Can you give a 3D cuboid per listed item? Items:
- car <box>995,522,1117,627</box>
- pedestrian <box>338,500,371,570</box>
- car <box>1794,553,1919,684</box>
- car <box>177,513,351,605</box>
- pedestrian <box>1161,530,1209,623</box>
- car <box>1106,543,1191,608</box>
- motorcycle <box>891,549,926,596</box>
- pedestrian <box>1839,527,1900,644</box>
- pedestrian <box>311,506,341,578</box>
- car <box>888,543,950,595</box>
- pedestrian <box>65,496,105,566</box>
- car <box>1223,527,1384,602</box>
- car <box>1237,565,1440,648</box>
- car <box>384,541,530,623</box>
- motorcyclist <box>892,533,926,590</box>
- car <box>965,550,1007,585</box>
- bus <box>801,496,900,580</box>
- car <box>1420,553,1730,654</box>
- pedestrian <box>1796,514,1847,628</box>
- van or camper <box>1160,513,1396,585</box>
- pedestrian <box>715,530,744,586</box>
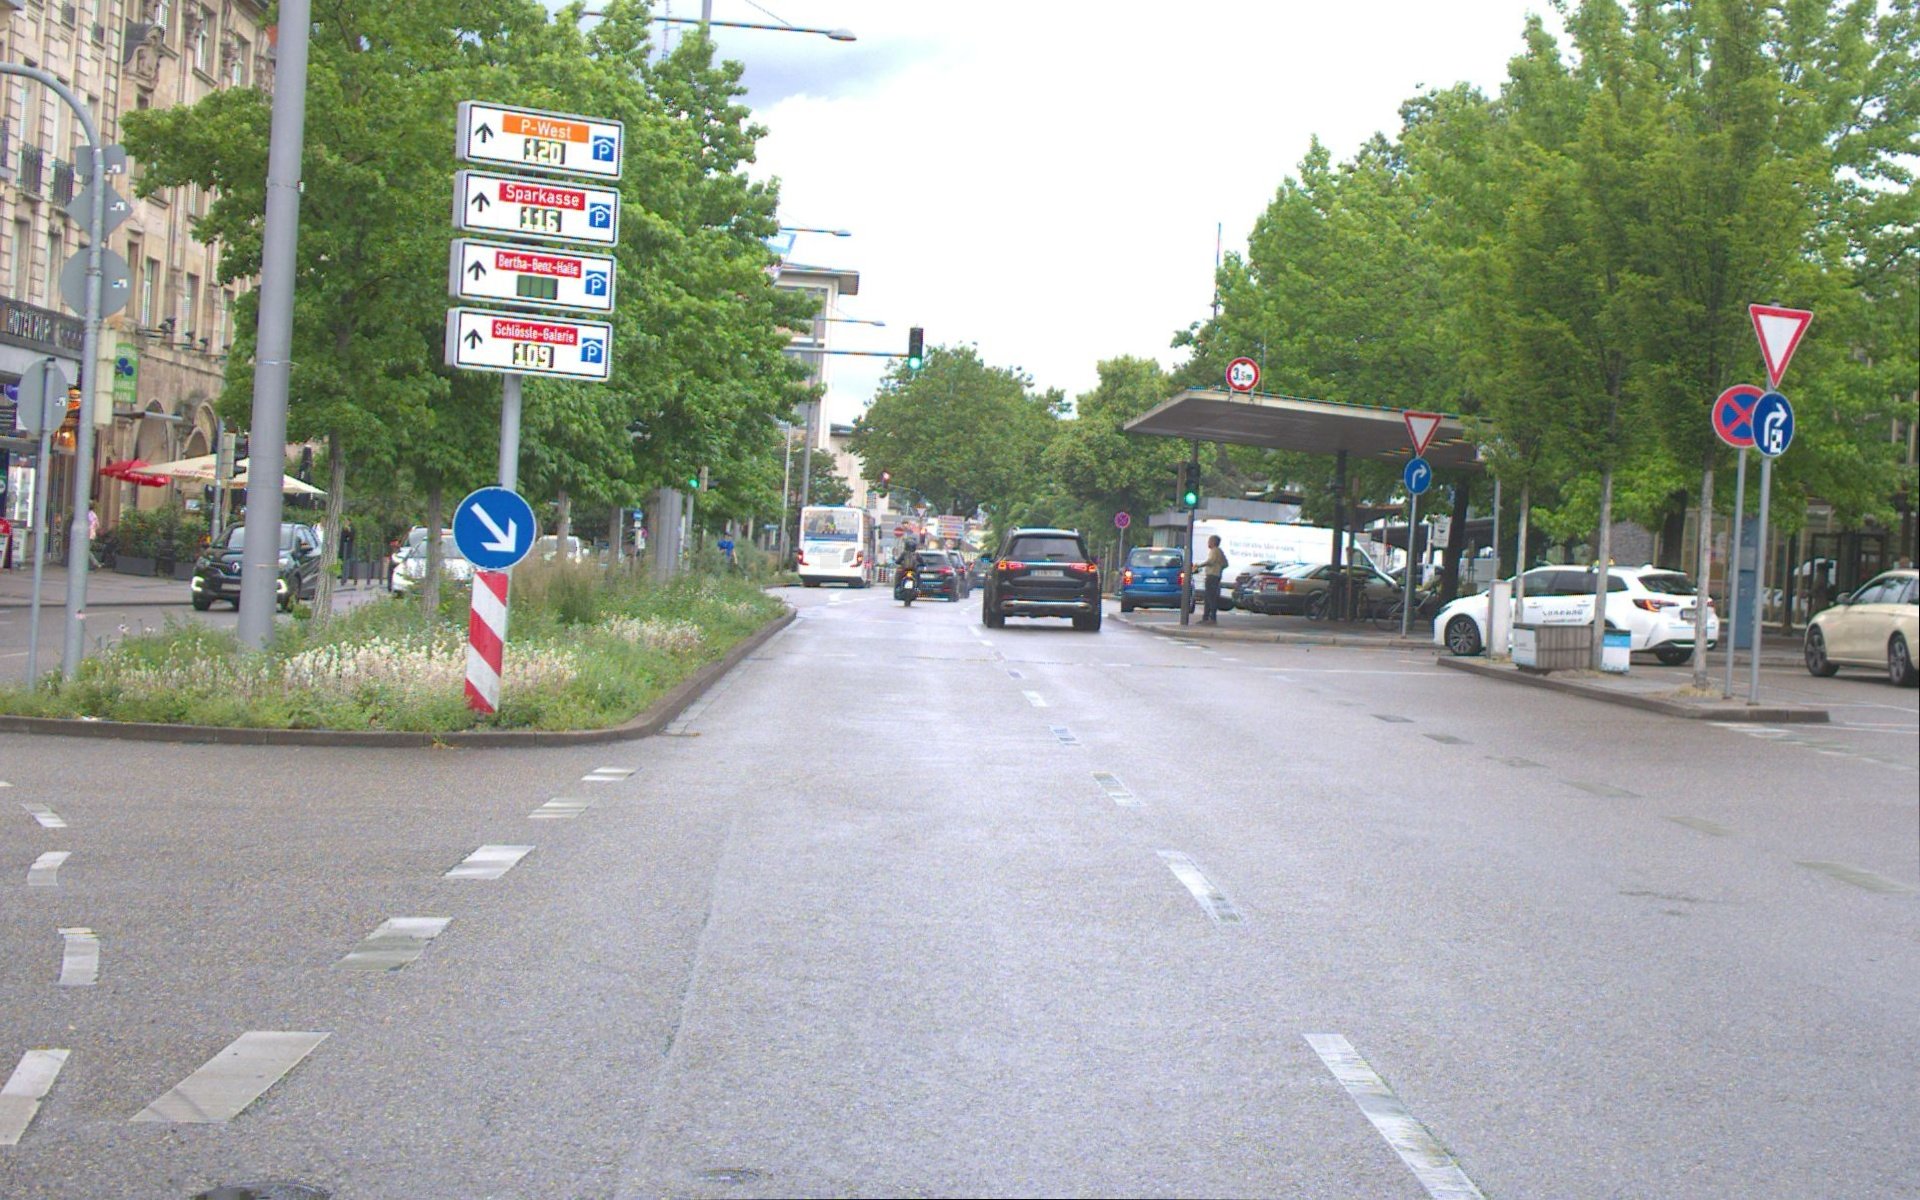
[{"bbox_3d":[1.703,-0.497,62.491,1.993,1.800,4.690,1,1,-1],"label":"car"},{"bbox_3d":[-14.812,-1.595,84.116,0.674,1.696,0.634,1,1,-1],"label":"pedestrian"},{"bbox_3d":[12.613,0.225,44.316,1.993,1.594,4.824,1,1,-7],"label":"car"},{"bbox_3d":[-12.166,-0.720,60.326,1.772,1.525,4.077,1,1,7],"label":"car"},{"bbox_3d":[4.356,-0.463,66.578,0.717,1.785,0.666,1,1,-12],"label":"pedestrian"},{"bbox_3d":[4.656,-0.633,85.414,1.816,1.525,4.000,1,1,-1],"label":"car"},{"bbox_3d":[-1.206,-0.664,81.035,0.766,1.073,2.175,2,1,0],"label":"motorcycle"},{"bbox_3d":[15.938,-0.259,60.266,0.769,2.007,0.828,1,1,-2],"label":"pedestrian"},{"bbox_3d":[-15.507,-1.420,84.111,0.575,1.726,0.609,2,1,-1],"label":"pedestrian"},{"bbox_3d":[-1.176,-0.902,98.306,1.708,1.443,4.000,1,1,-1],"label":"car"},{"bbox_3d":[-19.034,-1.502,74.765,0.661,1.505,0.519,1,1,-38],"label":"pedestrian"},{"bbox_3d":[9.651,-0.990,96.664,3.986,2.007,2.001,1,1,-20],"label":"car"},{"bbox_3d":[9.059,0.143,82.296,4.335,1.851,2.001,1,1,-20],"label":"car"},{"bbox_3d":[-9.001,-0.352,61.886,1.724,1.377,4.859,1,1,2],"label":"car"},{"bbox_3d":[-1.200,-0.911,81.133,0.764,1.327,0.866,2,1,0],"label":"motorcyclist"},{"bbox_3d":[1.135,-1.427,150.873,1.708,1.469,4.000,1,1,-1],"label":"car"},{"bbox_3d":[-4.637,-2.545,142.079,3.760,3.198,15.528,1,1,-3],"label":"bus"},{"bbox_3d":[9.097,0.031,51.118,1.774,1.380,4.366,0,1,-41],"label":"car"},{"bbox_3d":[18.460,-0.621,73.654,0.843,2.403,0.862,1,1,1],"label":"pedestrian"},{"bbox_3d":[9.518,-1.511,102.806,6.753,2.007,2.385,1,0,-26],"label":"van or camper"},{"bbox_3d":[-7.072,-1.284,105.277,0.758,1.695,0.559,2,1,6],"label":"pedestrian"}]
